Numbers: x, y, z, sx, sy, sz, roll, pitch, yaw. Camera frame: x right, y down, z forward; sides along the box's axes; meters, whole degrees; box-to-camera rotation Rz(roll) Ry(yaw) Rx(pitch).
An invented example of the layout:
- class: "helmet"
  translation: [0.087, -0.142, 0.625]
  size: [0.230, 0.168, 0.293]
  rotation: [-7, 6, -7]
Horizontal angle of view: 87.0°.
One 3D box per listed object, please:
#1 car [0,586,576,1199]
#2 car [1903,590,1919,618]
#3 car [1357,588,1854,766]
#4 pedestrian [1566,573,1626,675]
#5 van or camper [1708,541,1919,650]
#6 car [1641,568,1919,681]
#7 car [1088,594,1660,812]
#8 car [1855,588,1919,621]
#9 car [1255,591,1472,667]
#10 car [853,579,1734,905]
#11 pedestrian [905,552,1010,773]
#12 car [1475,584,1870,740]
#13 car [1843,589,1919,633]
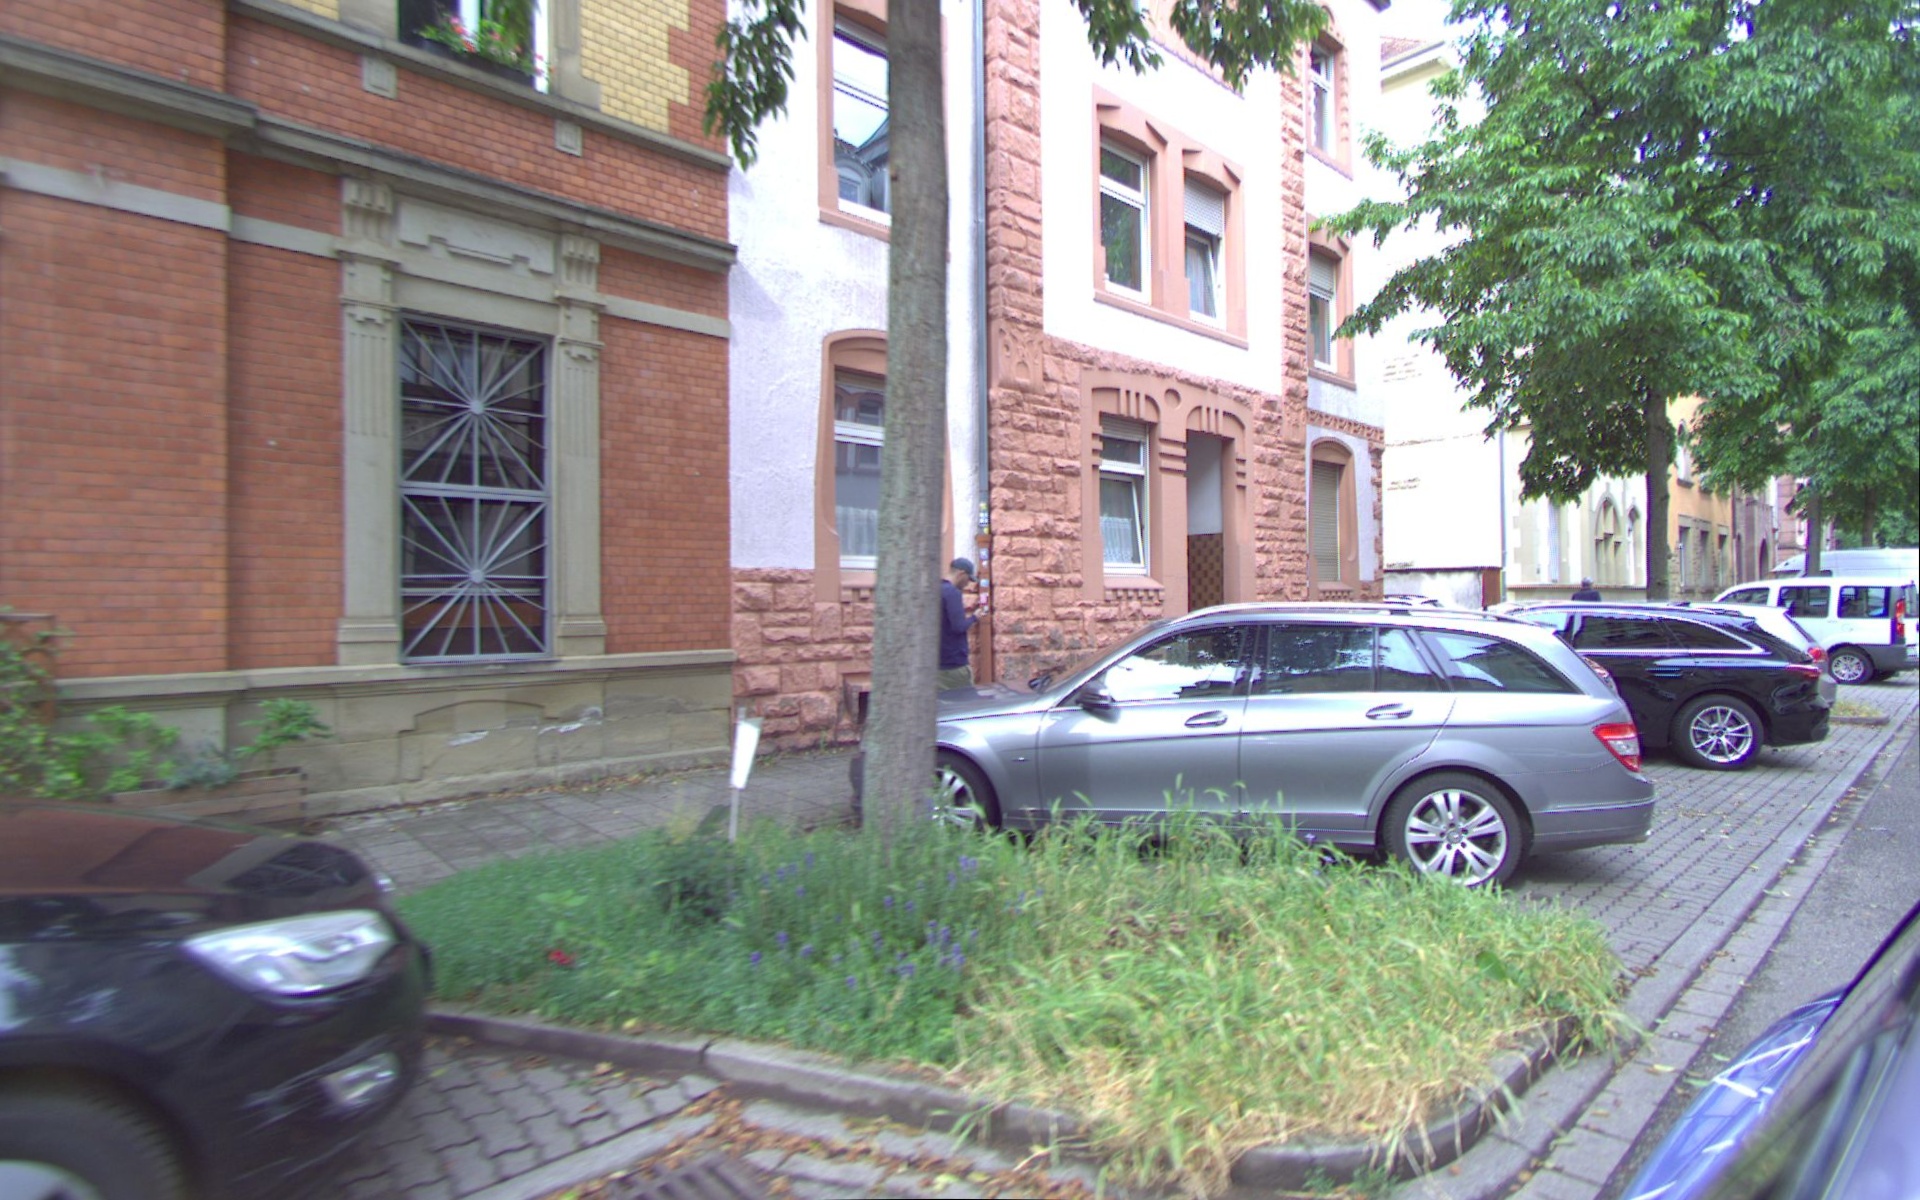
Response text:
- class: "car"
  translation: [-3.123, 0.742, 1.578]
  size: [4.405, 1.504, 1.766]
  rotation: [-1, 2, -44]
- class: "car"
  translation: [54.414, 0.184, 55.587]
  size: [3.581, 1.485, 1.610]
  rotation: [-2, -1, 34]
- class: "car"
  translation: [5.883, 0.660, 9.738]
  size: [3.642, 1.485, 1.697]
  rotation: [-1, 0, 16]
- class: "pedestrian"
  translation: [11.798, 0.431, 18.770]
  size: [0.803, 1.835, 0.702]
  rotation: [0, -2, -42]
- class: "van or camper"
  translation: [22.376, -0.087, 25.649]
  size: [5.000, 2.624, 2.062]
  rotation: [-1, -1, 17]
- class: "car"
  translation: [15.100, 0.414, 18.543]
  size: [1.688, 1.834, 3.999]
  rotation: [0, 0, -35]
- class: "car"
  translation: [3.081, 0.715, 8.174]
  size: [3.831, 1.454, 1.736]
  rotation: [-1, -1, 18]
- class: "car"
  translation: [45.087, 0.214, 47.661]
  size: [4.120, 1.517, 1.817]
  rotation: [-2, -1, 35]
- class: "car"
  translation: [8.470, 0.575, 21.482]
  size: [1.582, 1.472, 3.990]
  rotation: [0, 0, -43]
- class: "car"
  translation: [1.711, 0.628, 6.173]
  size: [4.384, 1.445, 1.749]
  rotation: [1, 1, 17]
- class: "pedestrian"
  translation: [-0.021, 0.496, 8.482]
  size: [0.653, 1.755, 0.597]
  rotation: [0, 0, -44]
- class: "car"
  translation: [8.021, 0.666, 11.825]
  size: [3.431, 1.583, 1.771]
  rotation: [-1, -1, 25]
- class: "car"
  translation: [33.379, 0.376, 35.231]
  size: [3.555, 1.485, 1.622]
  rotation: [-1, -1, 16]
